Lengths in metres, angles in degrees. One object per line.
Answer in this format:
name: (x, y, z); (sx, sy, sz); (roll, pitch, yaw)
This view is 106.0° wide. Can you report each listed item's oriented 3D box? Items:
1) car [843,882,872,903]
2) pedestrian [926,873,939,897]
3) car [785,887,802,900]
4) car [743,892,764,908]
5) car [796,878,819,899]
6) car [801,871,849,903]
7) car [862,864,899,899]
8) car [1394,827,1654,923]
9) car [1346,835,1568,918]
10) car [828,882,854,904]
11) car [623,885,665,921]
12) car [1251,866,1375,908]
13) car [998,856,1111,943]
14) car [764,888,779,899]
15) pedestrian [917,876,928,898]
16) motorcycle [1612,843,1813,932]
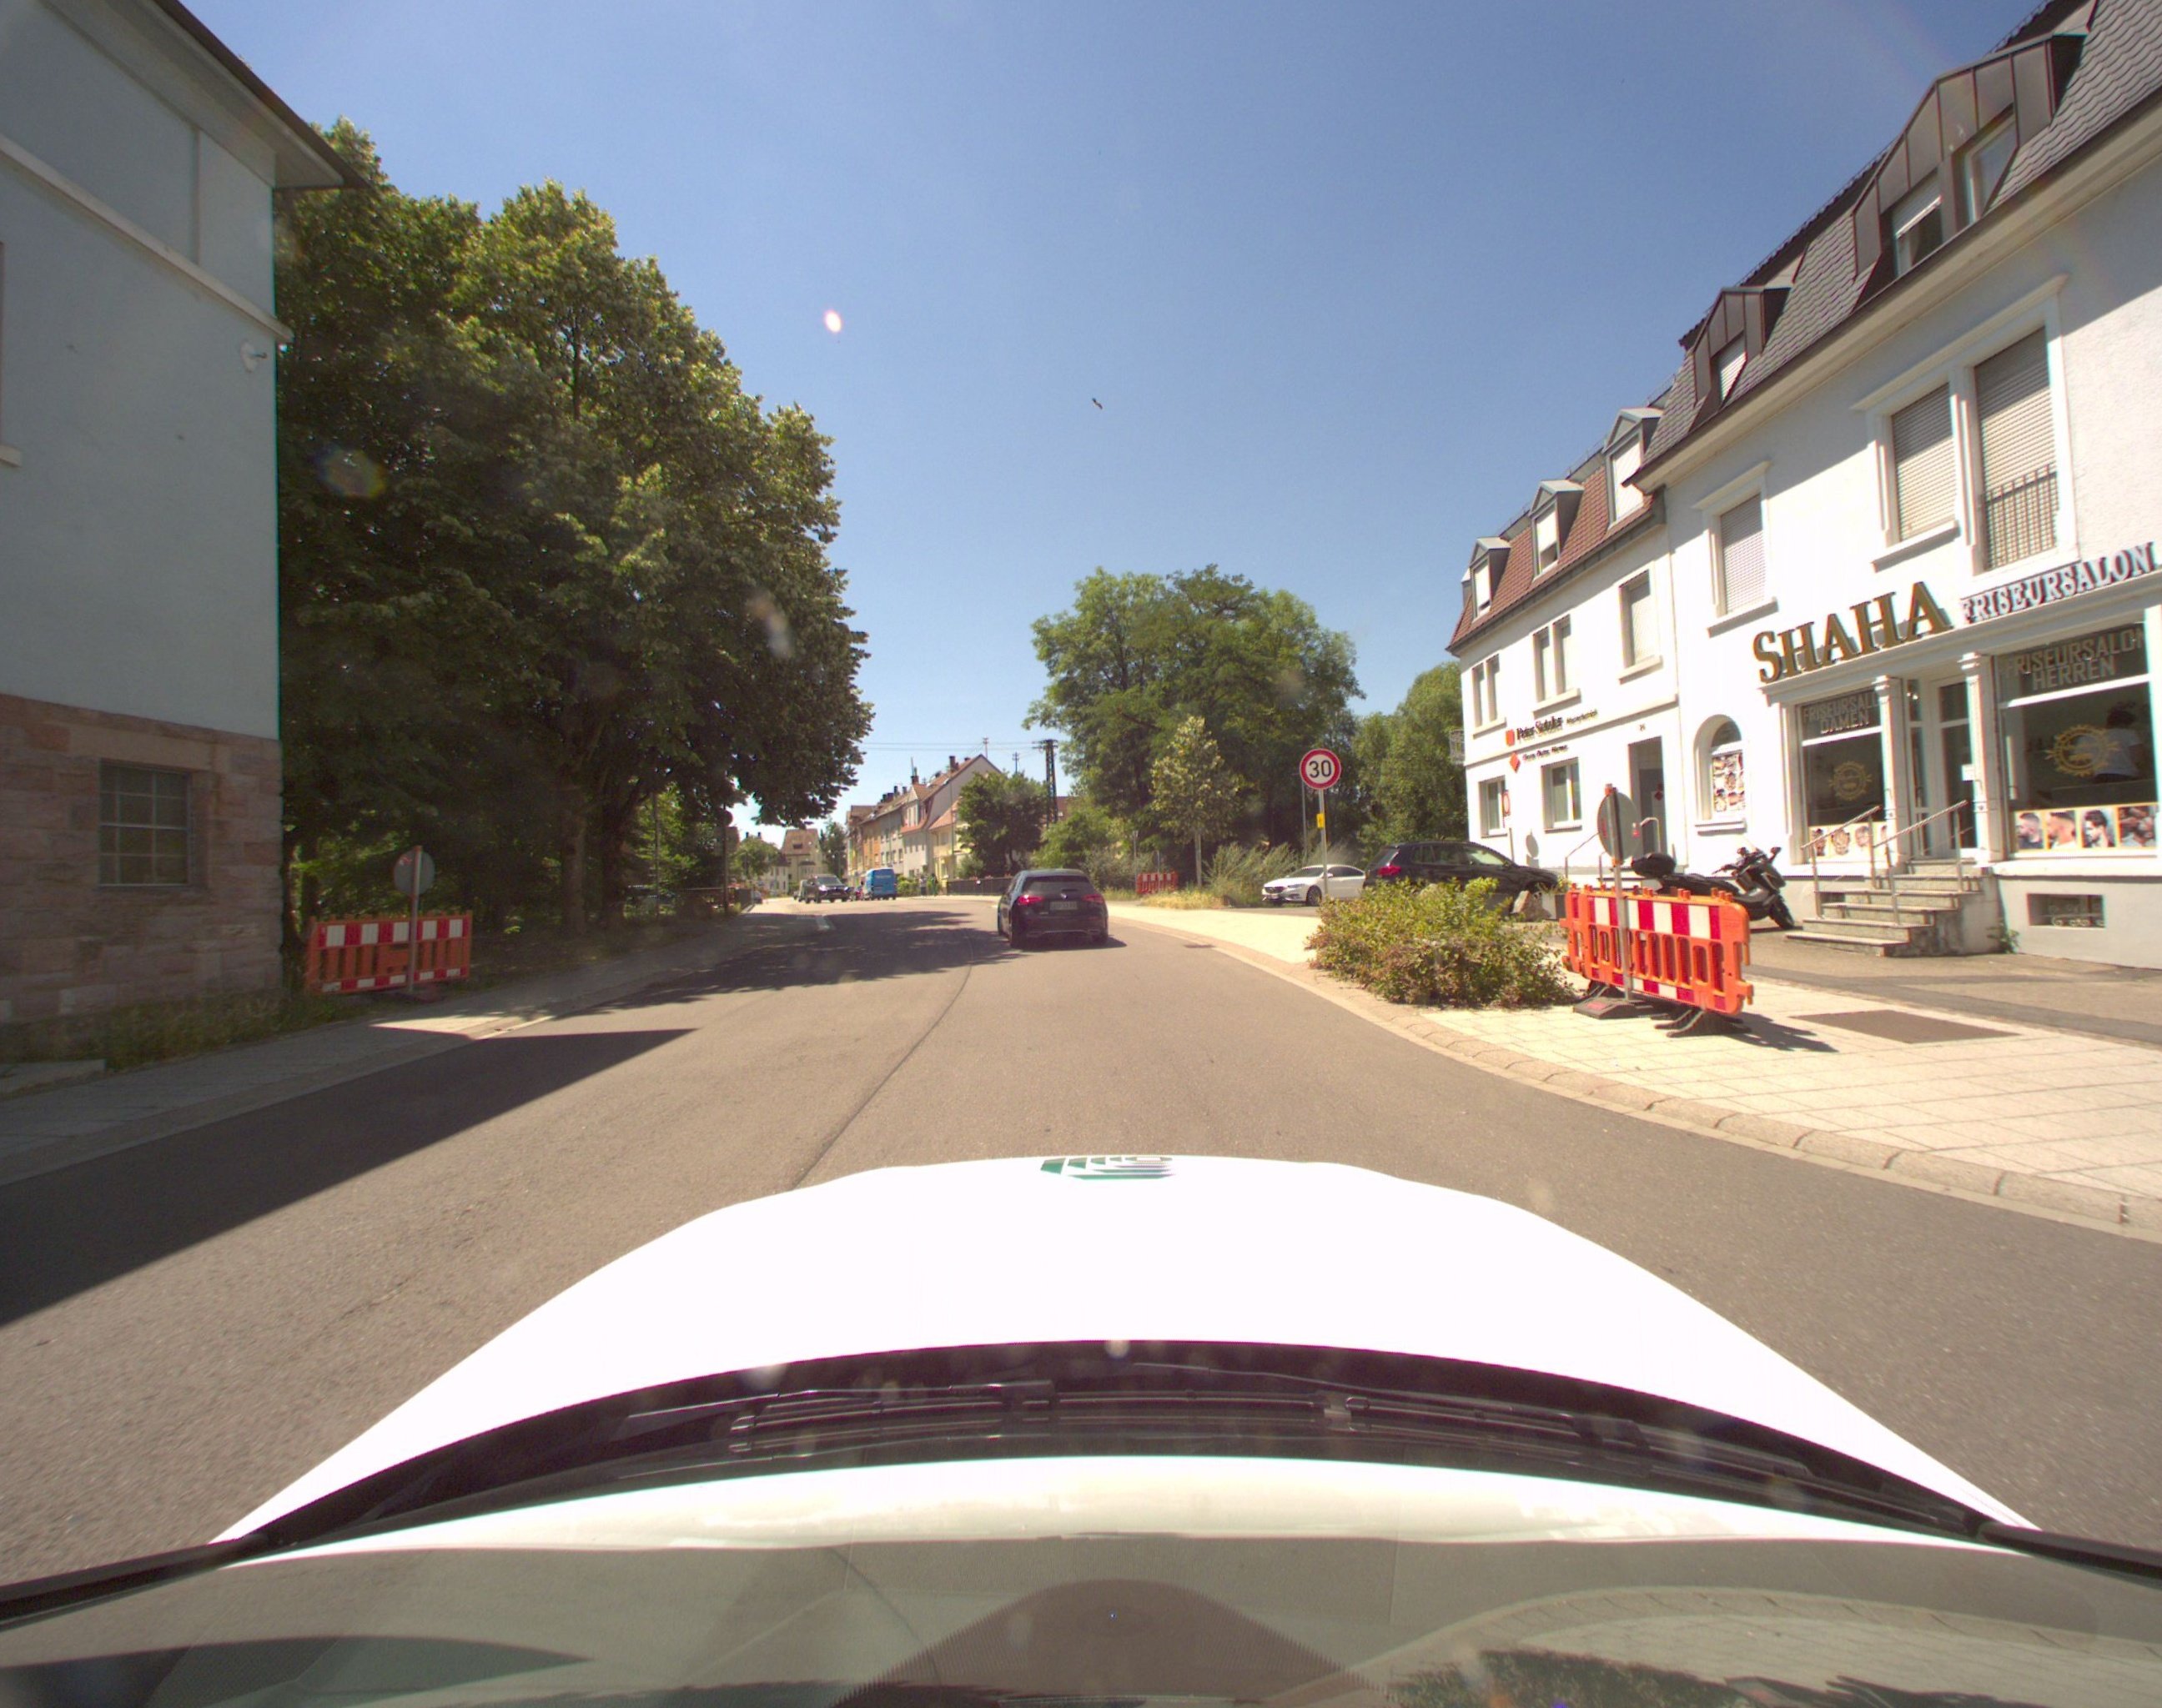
car: (-20.658, 3.523, 75.057); (2.002, 1.746, 4.295); (-1, -1, -23)
pedestrian: (-11.122, 2.335, 61.044); (0.666, 1.741, 0.693); (0, -3, -40)
car: (-47.758, 6.544, 135.251); (2.006, 2.014, 3.962); (-1, -1, -29)
car: (-35.845, 5.042, 89.099); (2.002, 1.660, 3.969); (1, -3, -22)
car: (-32.423, 4.105, 96.470); (2.254, 2.343, 4.815); (-1, -1, -23)
car: (-15.724, 2.025, 49.852); (1.753, 1.772, 4.294); (-3, -1, -32)
car: (-15.883, 2.191, 64.292); (2.141, 2.541, 4.614); (-1, -2, -22)
car: (8.512, 0.416, 15.944); (4.060, 1.716, 1.856); (-1, -2, 1)
car: (8.229, 0.505, 18.096); (4.060, 1.716, 1.856); (-1, -2, 1)
car: (-24.238, 3.893, 82.235); (2.002, 2.014, 3.969); (-1, -1, -23)
car: (-26.872, 2.944, 50.157); (2.003, 2.014, 3.967); (-1, -1, -25)
car: (8.047, 1.092, 28.108); (4.219, 1.350, 1.841); (1, -2, -34)
car: (-0.666, 0.926, 16.217); (1.826, 1.442, 3.988); (-2, -4, -8)
car: (-47.451, 5.987, 124.771); (2.002, 1.660, 3.969); (1, -3, -22)
pedestrian: (-12.014, 2.501, 61.684); (0.617, 1.613, 0.830); (-1, -2, -27)
motorcycle: (9.608, 0.504, 12.465); (2.367, 1.275, 0.856); (-1, -1, 2)
